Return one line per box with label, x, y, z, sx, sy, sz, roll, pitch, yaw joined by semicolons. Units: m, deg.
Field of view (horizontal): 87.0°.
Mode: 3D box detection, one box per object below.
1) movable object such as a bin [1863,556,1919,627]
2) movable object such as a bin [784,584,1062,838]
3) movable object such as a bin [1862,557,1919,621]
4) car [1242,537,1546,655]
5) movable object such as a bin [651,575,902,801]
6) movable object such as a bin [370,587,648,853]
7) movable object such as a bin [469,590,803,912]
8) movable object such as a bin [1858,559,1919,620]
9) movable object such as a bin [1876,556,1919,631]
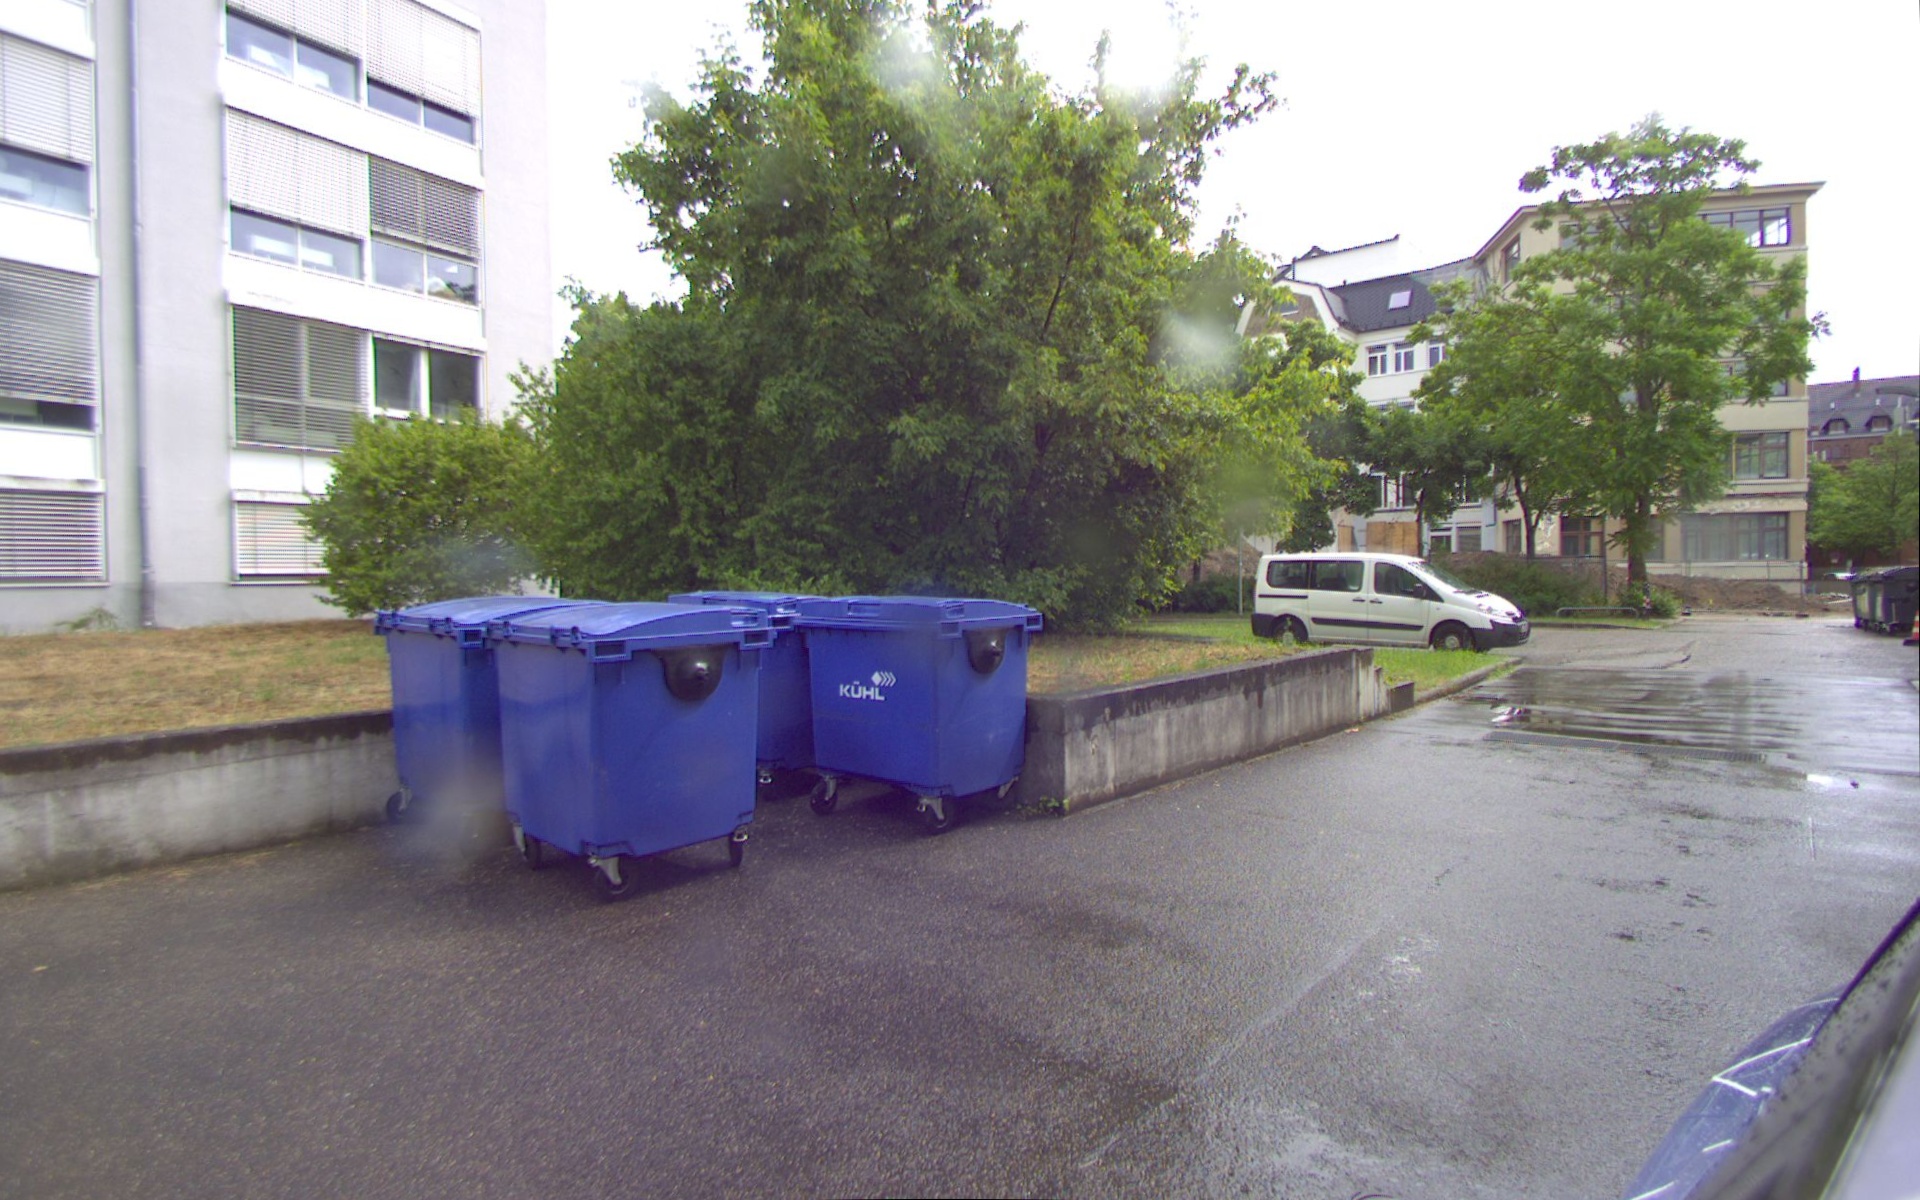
movable object such as a bin;20.836;-0.211;22.314;1.160;1.501;1.479;2;3;35
movable object such as a bin;-0.230;0.577;6.208;1.337;1.307;1.079;1;3;42
movable object such as a bin;22.735;-0.258;24.456;1.159;1.502;1.386;-1;-1;33
car;8.086;-0.082;19.137;4.870;1.949;2.068;-1;2;42
movable object such as a bin;-1.272;0.516;7.028;1.292;1.353;1.179;1;2;42
movable object such as a bin;-2.647;0.600;5.955;1.184;1.320;1.091;1;2;41
movable object such as a bin;-1.647;0.630;5.126;1.371;1.320;1.067;1;2;42
movable object such as a bin;23.658;-0.269;25.657;1.459;1.492;1.103;-2;0;-40
movable object such as a bin;19.941;-0.157;20.975;1.160;1.501;1.575;2;3;34
